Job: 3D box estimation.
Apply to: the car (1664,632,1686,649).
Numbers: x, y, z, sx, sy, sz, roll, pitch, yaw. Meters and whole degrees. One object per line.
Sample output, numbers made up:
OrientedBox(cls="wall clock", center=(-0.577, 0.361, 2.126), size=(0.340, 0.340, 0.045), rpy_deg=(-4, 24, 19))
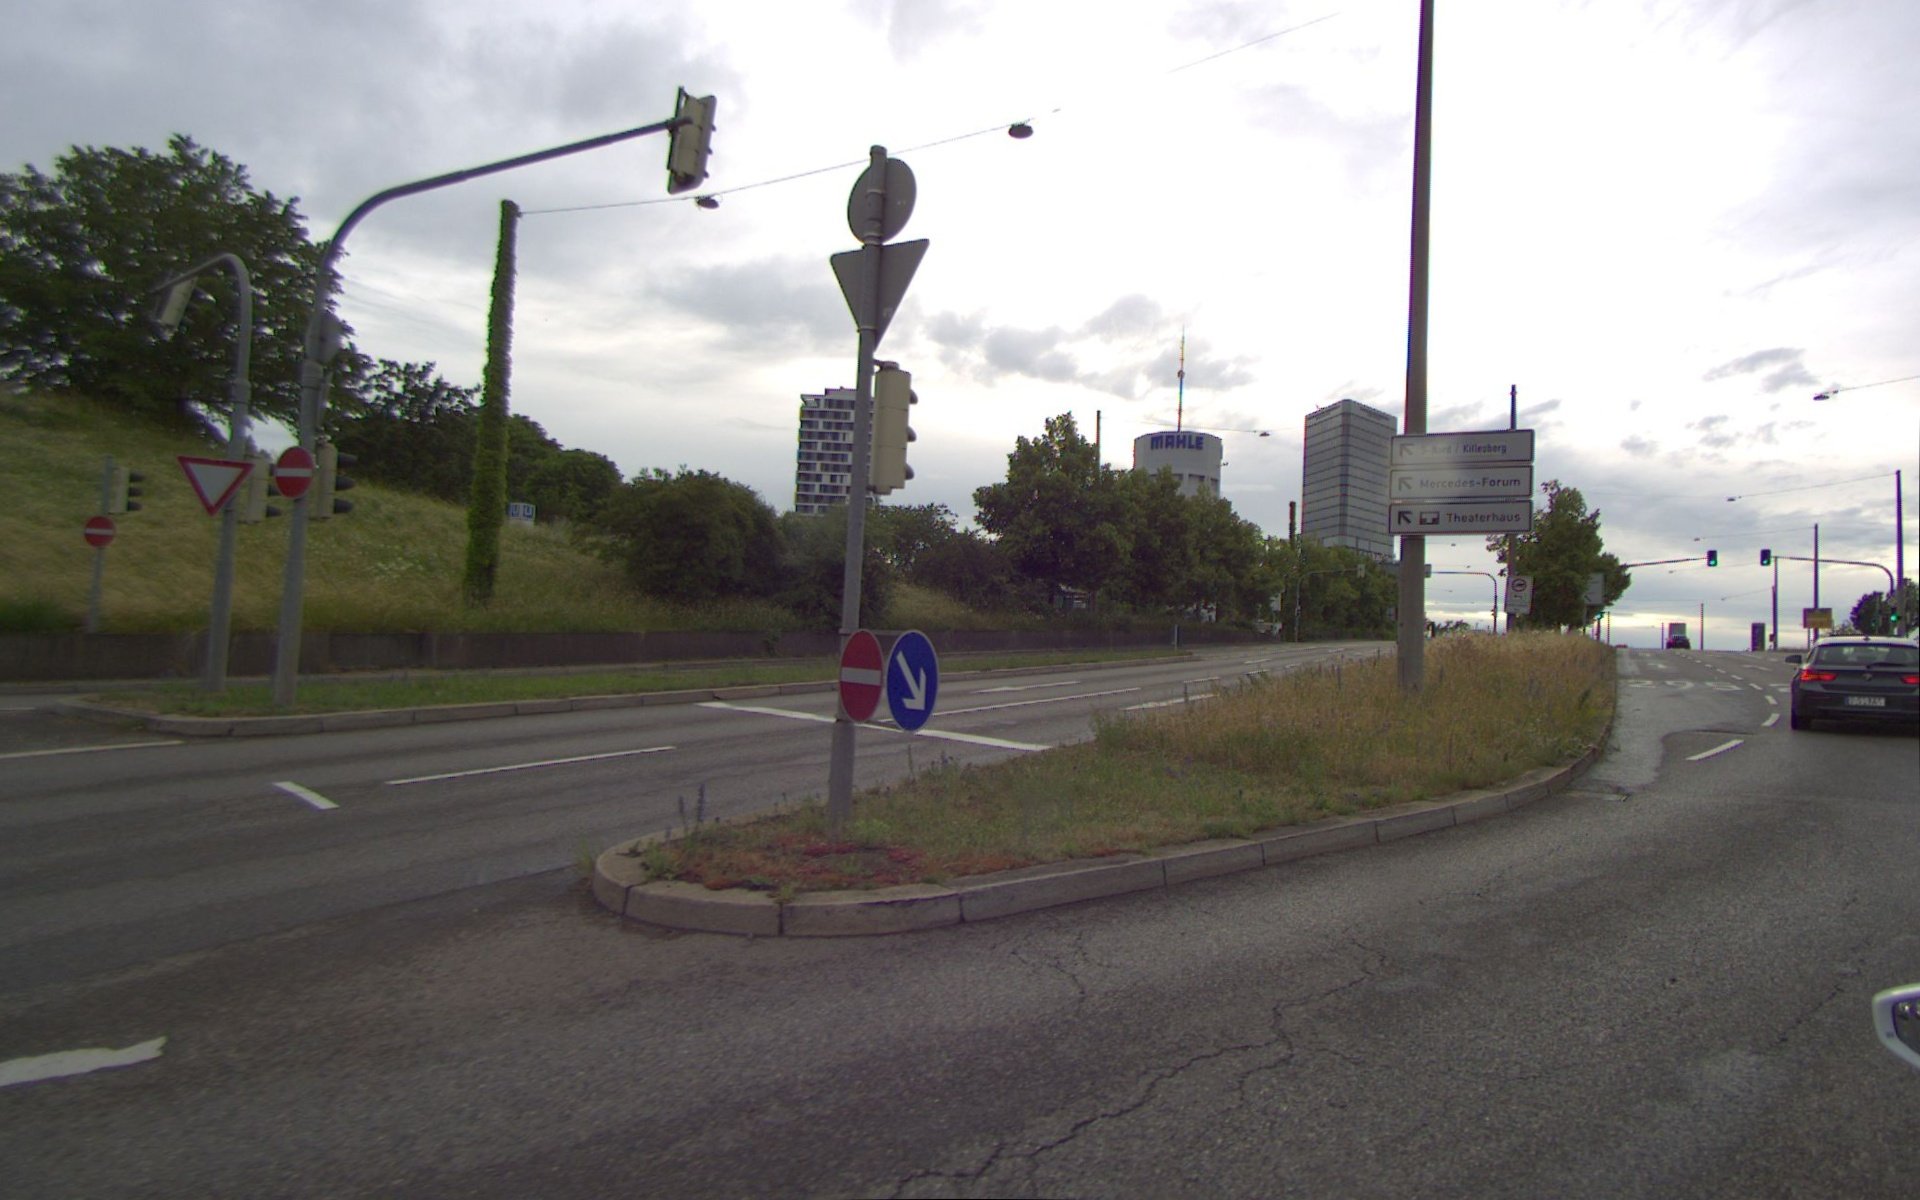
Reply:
OrientedBox(cls="car", center=(70.590, 4.000, 99.206), size=(1.699, 1.562, 3.692), rpy_deg=(3, 0, 35))

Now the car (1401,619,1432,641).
OrientedBox(cls="car", center=(35.316, 2.312, 77.666), size=(1.834, 1.642, 3.992), rpy_deg=(1, 0, 30))

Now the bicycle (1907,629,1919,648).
OrientedBox(cls="bicycle", center=(63.141, 2.540, 66.074), size=(0.623, 1.119, 1.751), rpy_deg=(-3, 0, 25))

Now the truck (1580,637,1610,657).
OrientedBox(cls="truck", center=(109.542, 8.163, 173.362), size=(2.621, 3.261, 6.554), rpy_deg=(3, -3, 16))

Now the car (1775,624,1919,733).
OrientedBox(cls="car", center=(14.279, 1.168, 15.873), size=(1.849, 1.481, 3.952), rpy_deg=(1, -1, 44))

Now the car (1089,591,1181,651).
OrientedBox(cls="car", center=(6.426, 0.794, 36.570), size=(1.966, 2.040, 3.990), rpy_deg=(-1, -2, 32))

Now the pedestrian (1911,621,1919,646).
OrientedBox(cls="pedestrian", center=(63.071, 2.172, 65.979), size=(0.623, 1.592, 0.894), rpy_deg=(-2, 1, 26))
